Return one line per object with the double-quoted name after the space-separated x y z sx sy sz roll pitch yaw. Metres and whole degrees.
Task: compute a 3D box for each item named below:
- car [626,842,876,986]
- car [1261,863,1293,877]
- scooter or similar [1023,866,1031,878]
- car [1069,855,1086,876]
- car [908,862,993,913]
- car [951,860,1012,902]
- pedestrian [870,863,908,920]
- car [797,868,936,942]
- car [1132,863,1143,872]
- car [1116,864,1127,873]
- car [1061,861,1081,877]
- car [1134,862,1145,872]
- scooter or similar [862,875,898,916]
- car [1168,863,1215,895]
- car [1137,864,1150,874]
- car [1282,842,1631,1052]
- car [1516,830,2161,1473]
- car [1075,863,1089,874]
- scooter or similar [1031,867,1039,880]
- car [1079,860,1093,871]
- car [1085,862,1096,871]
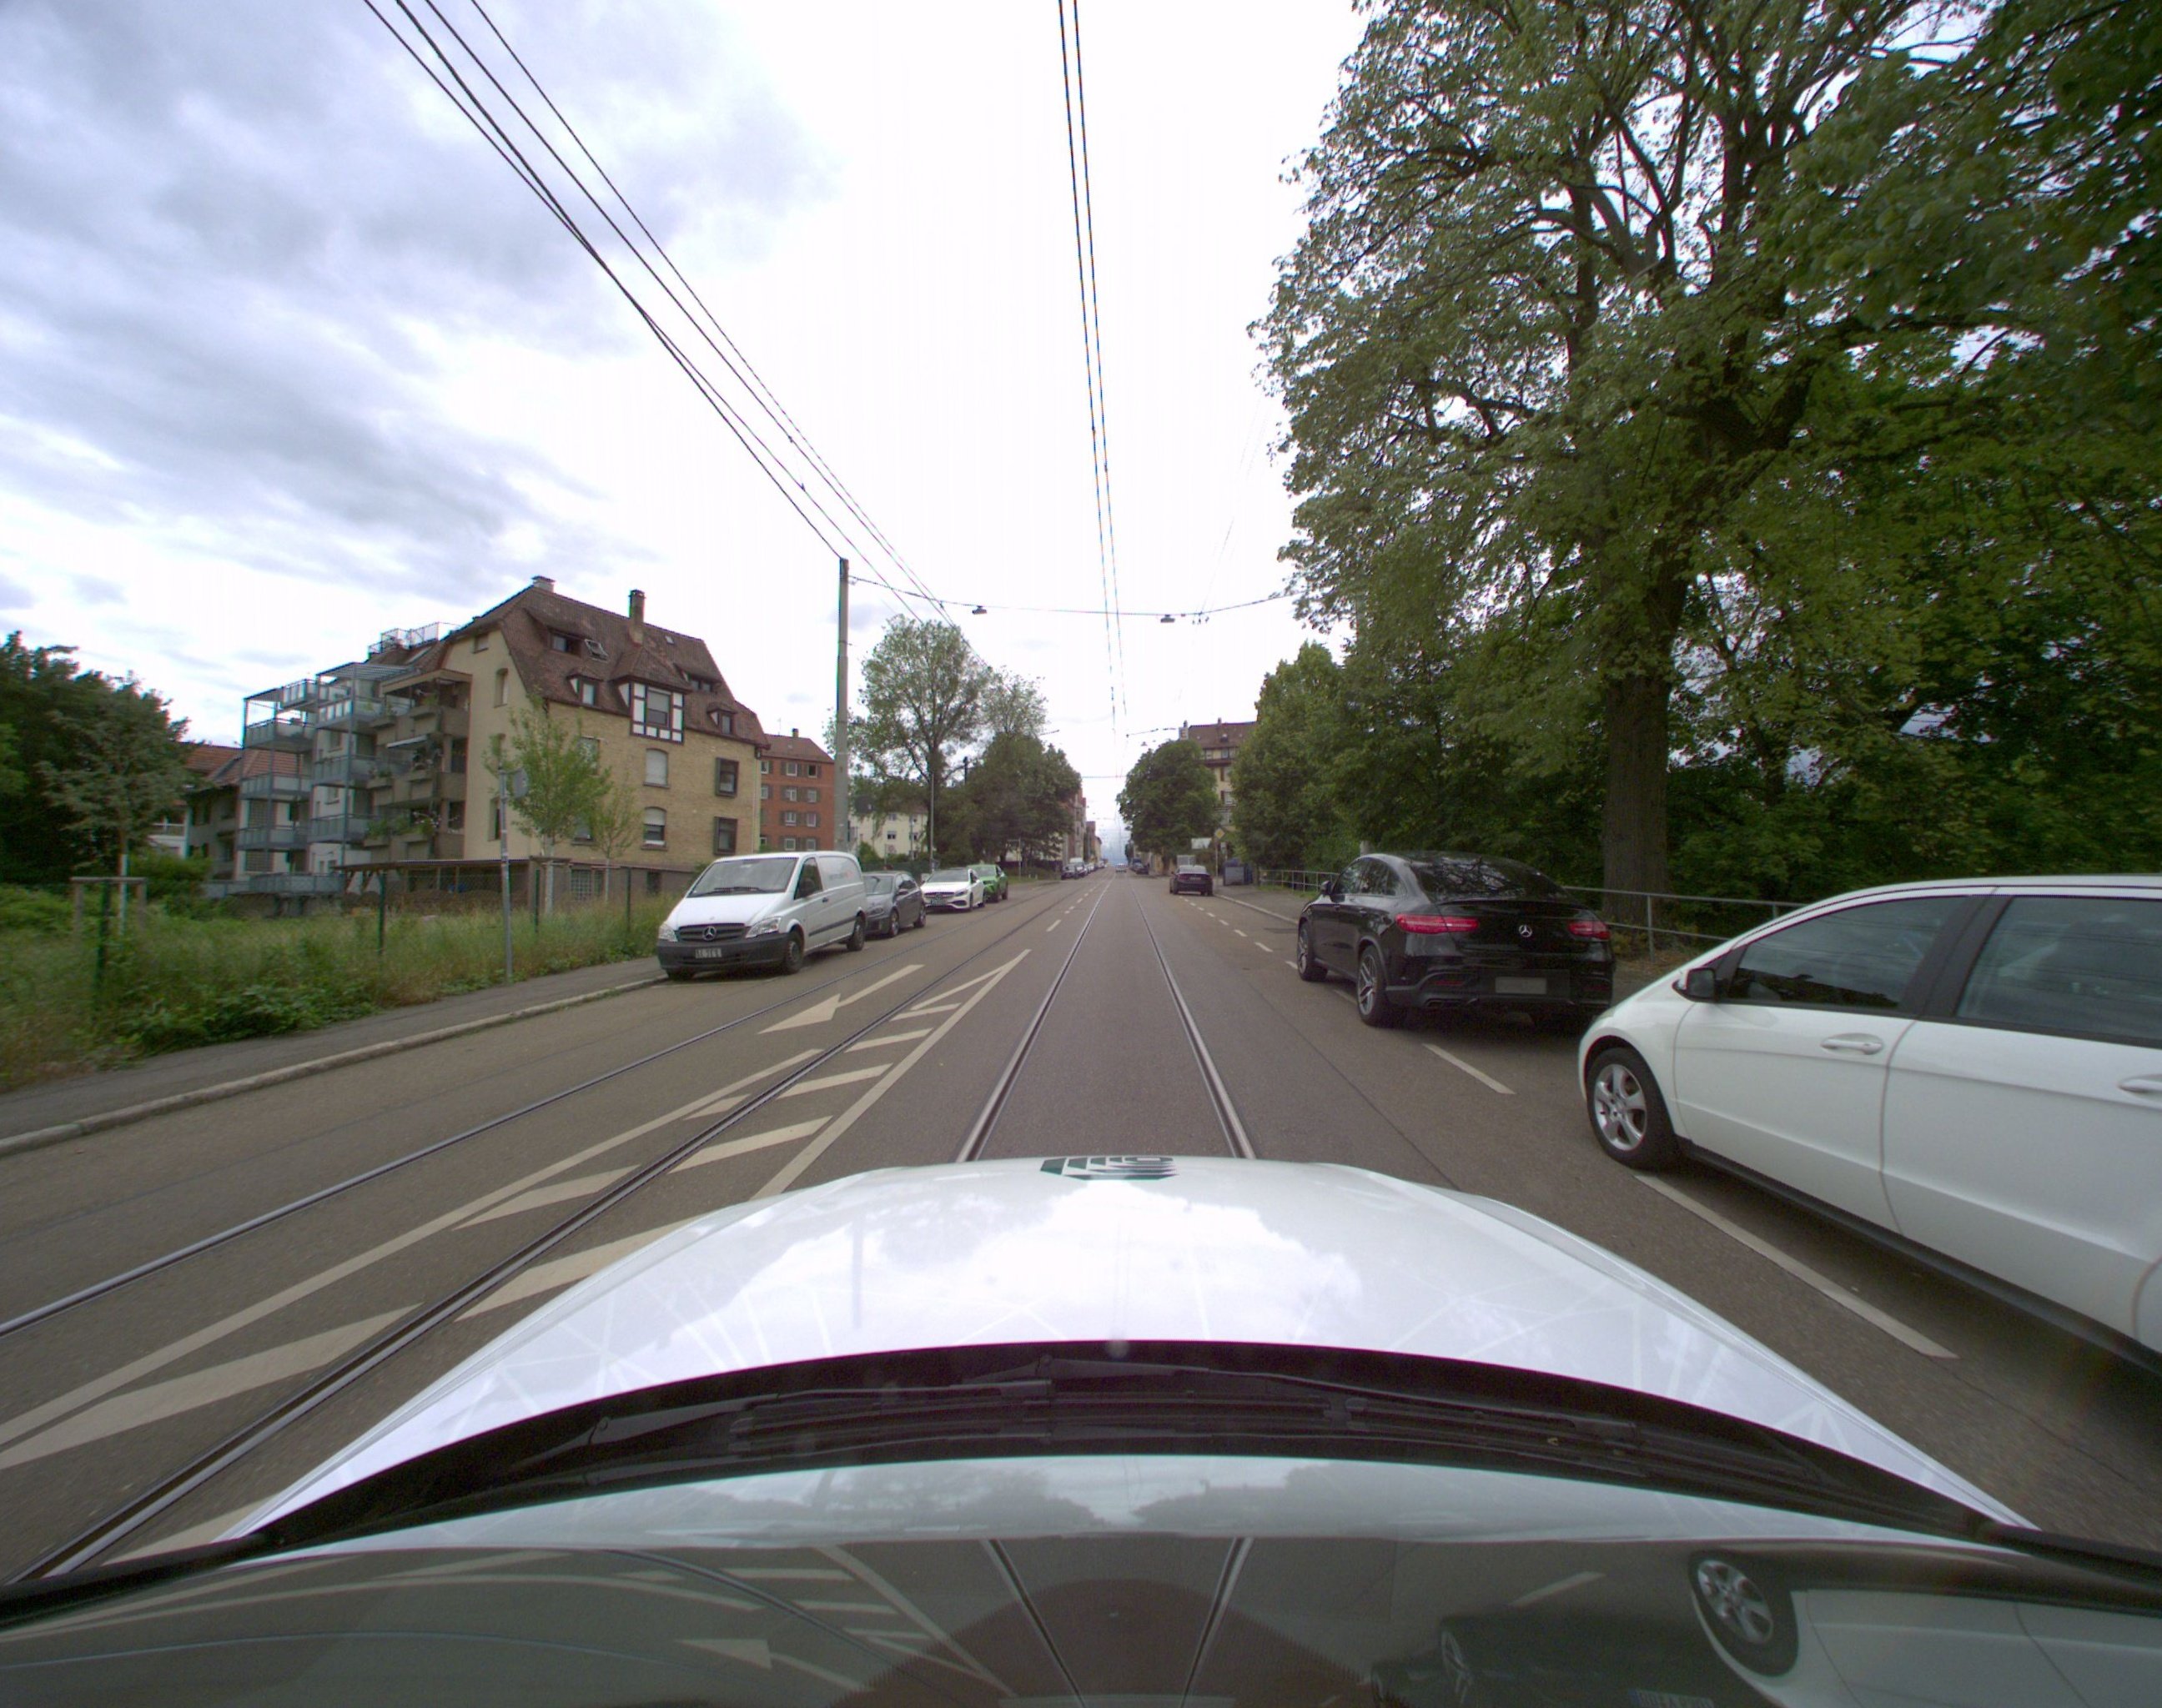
-5.196 0.893 13.736 2.028 1.881 4.886 -3 -1 1 "car"
20.090 1.651 83.315 1.974 1.479 4.491 -1 -2 31 "car"
-5.936 1.966 89.404 0.688 1.339 1.640 0 -2 4 "scooter or similar"
-0.462 1.579 108.501 2.223 2.764 5.799 0 -1 1 "car"
-4.333 1.085 27.784 1.877 1.526 4.666 -2 -1 3 "car"
-3.995 1.065 33.325 1.716 1.580 4.184 -2 -1 3 "car"
-5.658 1.095 24.013 0.810 1.629 0.906 1 -2 -34 "pedestrian"
-4.921 1.117 19.401 1.888 1.433 4.514 -2 0 3 "car"
10.737 2.556 155.823 1.985 1.651 4.003 -1 -1 3 "car"
7.031 2.507 141.671 1.985 1.499 4.314 0 -1 2 "car"
-1.108 1.734 94.008 1.984 1.808 4.004 0 -1 4 "car"
10.259 2.307 143.266 1.985 1.717 4.003 -1 -1 3 "car"
-6.097 1.242 24.668 0.810 1.196 0.830 1 -2 -34 "scooter or similar"
5.318 1.190 39.606 1.821 1.430 4.850 1 -1 2 "car"
9.372 2.248 122.671 1.985 1.530 4.316 0 -1 4 "car"
3.719 0.782 9.261 1.869 1.678 5.067 1 0 3 "car"
3.665 0.806 3.228 1.720 1.631 4.089 3 0 1 "car"
0.215 2.163 118.793 1.987 1.600 4.312 0 -1 1 "car"
-4.999 2.128 89.185 0.688 1.339 1.640 0 -2 4 "scooter or similar"
0.816 1.931 135.751 1.984 1.812 4.316 0 -1 4 "car"
1.789 2.311 152.302 1.916 1.601 4.003 0 -1 3 "car"
